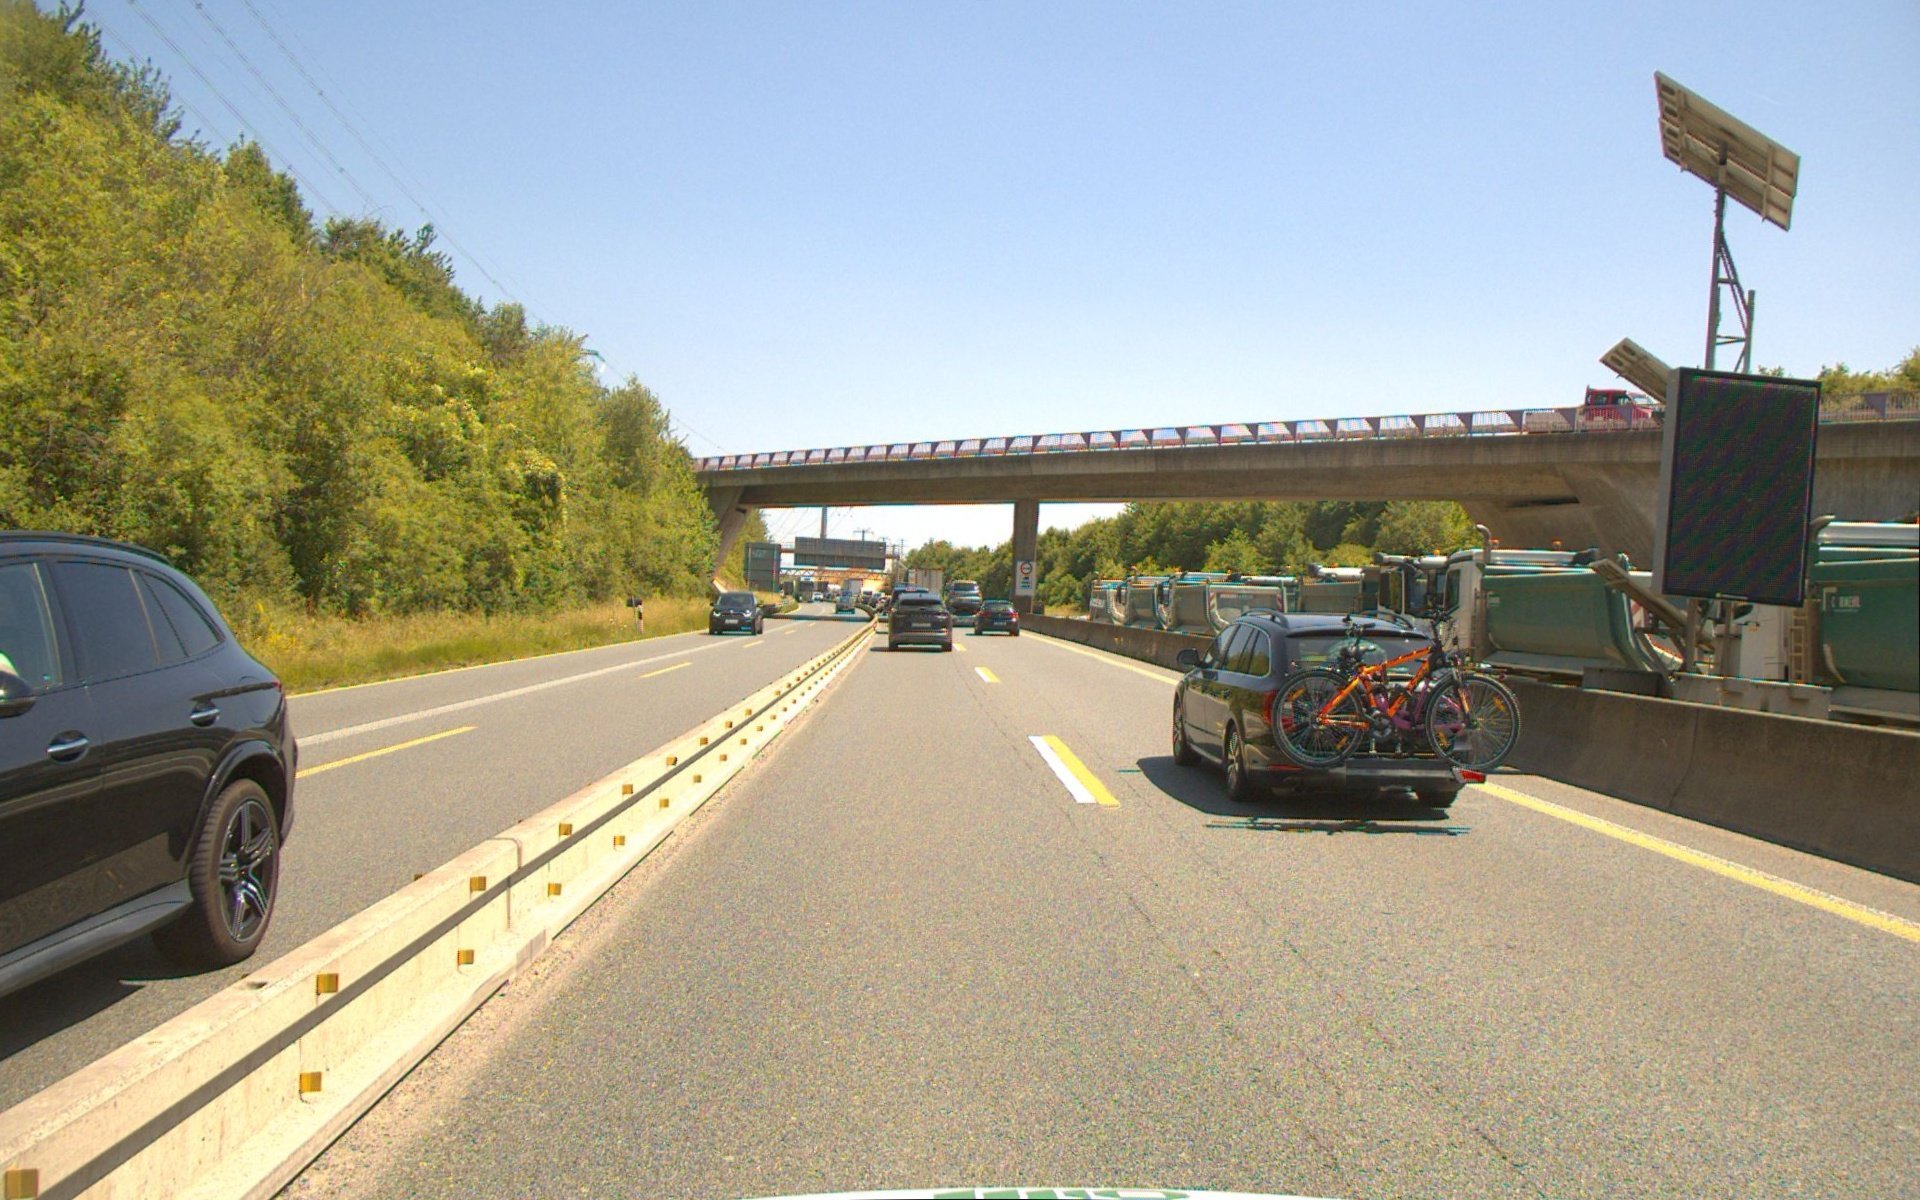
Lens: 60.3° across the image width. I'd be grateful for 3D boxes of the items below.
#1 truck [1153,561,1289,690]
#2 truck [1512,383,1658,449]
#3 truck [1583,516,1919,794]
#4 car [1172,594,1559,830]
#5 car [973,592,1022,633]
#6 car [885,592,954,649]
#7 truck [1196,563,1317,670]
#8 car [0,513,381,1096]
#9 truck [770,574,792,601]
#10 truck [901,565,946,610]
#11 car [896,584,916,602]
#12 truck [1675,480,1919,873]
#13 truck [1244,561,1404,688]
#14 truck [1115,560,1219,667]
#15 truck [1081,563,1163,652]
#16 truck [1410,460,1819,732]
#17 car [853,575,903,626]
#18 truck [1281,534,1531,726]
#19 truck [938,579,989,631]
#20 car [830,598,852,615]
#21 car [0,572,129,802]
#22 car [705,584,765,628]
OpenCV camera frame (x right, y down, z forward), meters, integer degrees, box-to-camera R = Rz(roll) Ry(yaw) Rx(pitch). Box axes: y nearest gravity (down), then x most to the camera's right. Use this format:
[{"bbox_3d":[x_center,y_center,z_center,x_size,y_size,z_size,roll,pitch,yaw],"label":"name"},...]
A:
[{"bbox_3d":[8.412,0.757,54.499,2.633,3.826,9.321,1,0,-2],"label":"truck"},{"bbox_3d":[25.695,-7.538,68.148,1.916,2.102,5.442,2,-1,-37],"label":"truck"},{"bbox_3d":[12.877,0.692,25.348,2.633,3.437,9.598,1,0,-2],"label":"truck"},{"bbox_3d":[2.998,0.755,13.393,1.860,1.516,4.946,1,0,-1],"label":"car"},{"bbox_3d":[1.547,0.521,68.912,1.860,1.613,4.275,1,0,-1],"label":"car"},{"bbox_3d":[-1.127,0.559,47.599,1.860,1.531,4.275,1,0,-1],"label":"car"},{"bbox_3d":[11.314,0.578,64.027,2.633,3.792,9.321,1,0,-2],"label":"truck"},{"bbox_3d":[-3.588,0.536,5.326,1.806,1.638,4.698,2,0,-1],"label":"car"},{"bbox_3d":[-21.965,-1.543,203.130,2.460,3.242,10.096,1,0,-6],"label":"truck"},{"bbox_3d":[-3.424,-1.114,151.469,3.229,3.912,10.096,1,0,-6],"label":"truck"},{"bbox_3d":[-6.090,-0.751,186.286,1.863,2.003,4.270,1,0,-6],"label":"car"},{"bbox_3d":[10.177,0.726,15.650,2.632,3.619,9.405,1,0,-1],"label":"truck"},{"bbox_3d":[11.333,0.706,52.514,2.633,3.619,9.321,1,0,-2],"label":"truck"},{"bbox_3d":[8.131,0.490,66.147,2.633,3.923,9.321,1,0,-2],"label":"truck"},{"bbox_3d":[7.565,0.322,78.325,2.633,3.910,9.321,1,0,-2],"label":"truck"},{"bbox_3d":[10.123,-0.066,27.003,2.633,3.619,9.321,1,0,-2],"label":"truck"},{"bbox_3d":[-3.424,0.029,69.452,1.860,2.003,4.275,1,0,-1],"label":"car"},{"bbox_3d":[9.475,0.569,36.420,2.633,3.619,9.321,1,0,-2],"label":"truck"},{"bbox_3d":[0.149,0.232,88.589,2.357,2.603,7.497,1,0,-2],"label":"truck"},{"bbox_3d":[-10.103,0.558,140.306,1.640,1.418,4.069,1,0,-2],"label":"car"},{"bbox_3d":[-7.296,0.571,10.751,1.688,1.548,4.184,1,0,-1],"label":"car"},{"bbox_3d":[-8.484,0.210,62.629,1.742,1.604,4.068,1,0,-1],"label":"car"}]
